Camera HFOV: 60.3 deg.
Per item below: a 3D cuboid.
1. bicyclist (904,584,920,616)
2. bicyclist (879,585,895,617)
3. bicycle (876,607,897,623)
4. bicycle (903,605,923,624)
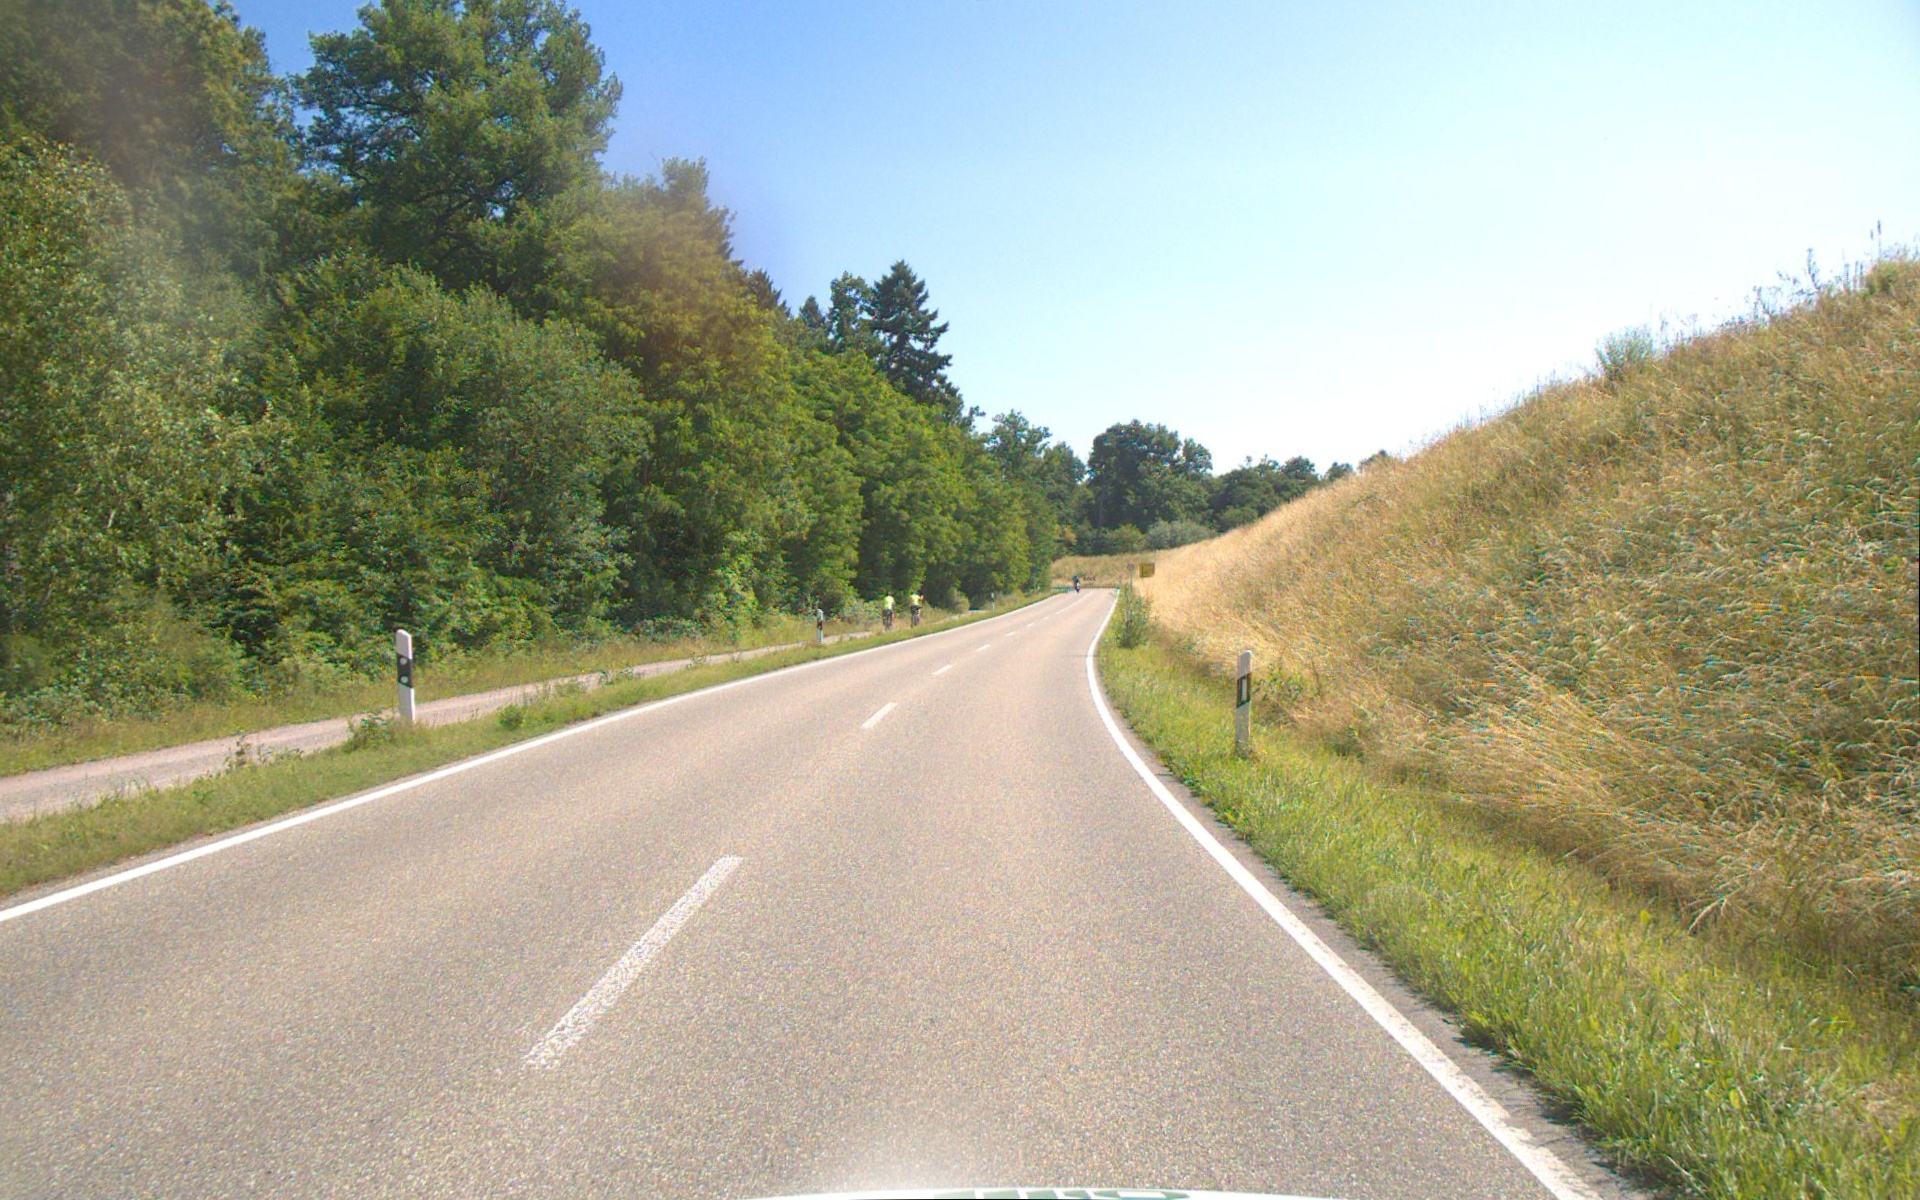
[{"bbox_3d":[-2.205,-0.009,75.897,0.592,1.440,0.703,-2,0,6],"label":"bicyclist"},{"bbox_3d":[-3.360,0.044,76.179,0.592,1.440,0.703,1,-1,6],"label":"bicyclist"},{"bbox_3d":[-3.372,0.685,76.105,0.606,0.693,2.138,-2,0,6],"label":"bicycle"},{"bbox_3d":[-2.156,0.656,75.876,0.626,0.802,2.138,-2,0,6],"label":"bicycle"}]
